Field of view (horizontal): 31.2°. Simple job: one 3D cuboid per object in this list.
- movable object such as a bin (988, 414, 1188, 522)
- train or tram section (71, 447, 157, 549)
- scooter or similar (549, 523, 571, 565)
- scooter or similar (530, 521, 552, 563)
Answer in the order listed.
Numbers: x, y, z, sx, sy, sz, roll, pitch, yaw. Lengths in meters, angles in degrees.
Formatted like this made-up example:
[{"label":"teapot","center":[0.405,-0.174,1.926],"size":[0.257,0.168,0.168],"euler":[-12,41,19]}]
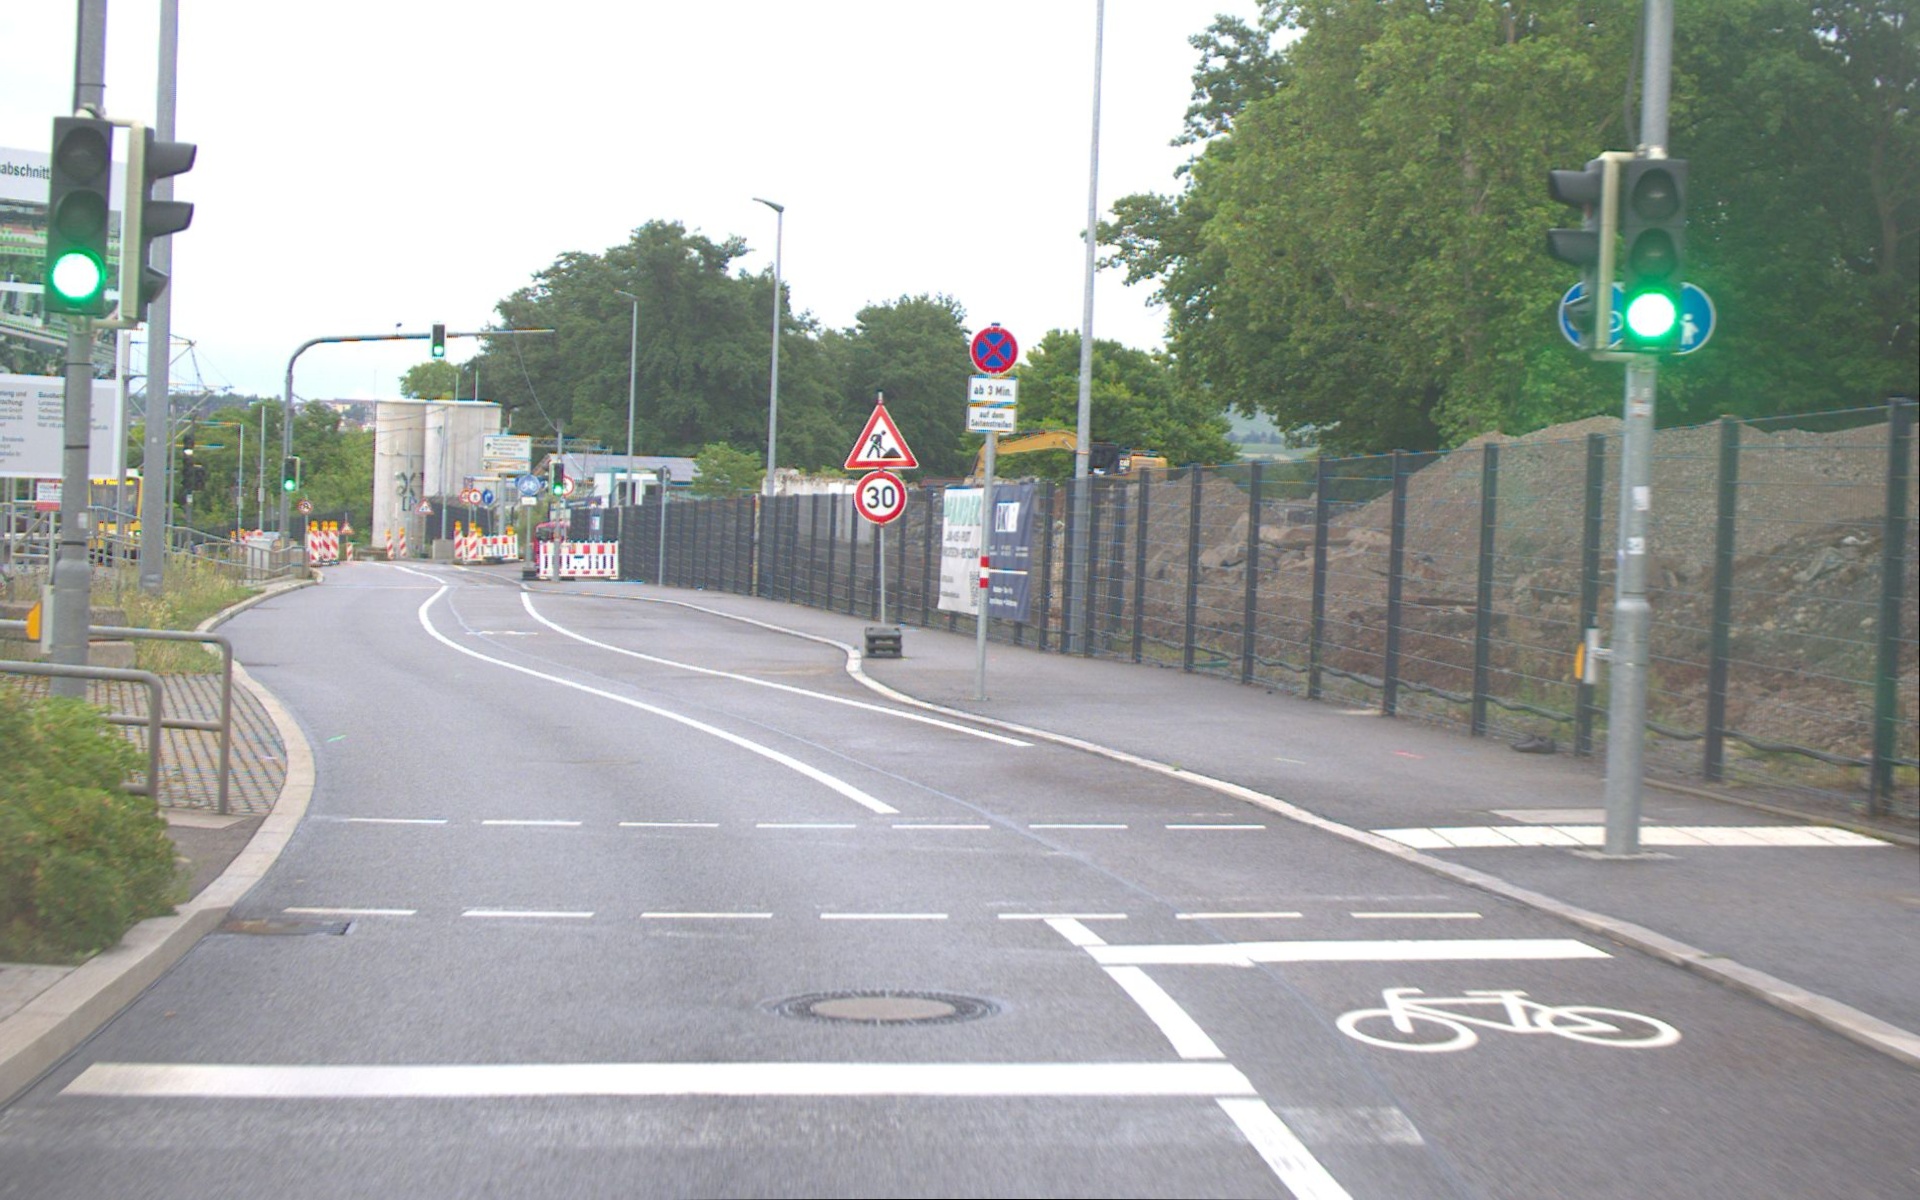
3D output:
[{"label":"movable object such as a bin","center":[7.345,-7.597,198.914],"size":[11.230,5.975,3.492],"euler":[1,1,-3]},{"label":"train or tram section","center":[-35.540,-4.250,144.943],"size":[2.954,3.872,19.579],"euler":[2,1,-13]},{"label":"scooter or similar","center":[-12.973,-1.833,111.520],"size":[0.615,1.347,1.912],"euler":[1,1,-5]},{"label":"scooter or similar","center":[-13.599,-1.898,111.510],"size":[0.615,1.347,1.912],"euler":[1,1,-5]}]
